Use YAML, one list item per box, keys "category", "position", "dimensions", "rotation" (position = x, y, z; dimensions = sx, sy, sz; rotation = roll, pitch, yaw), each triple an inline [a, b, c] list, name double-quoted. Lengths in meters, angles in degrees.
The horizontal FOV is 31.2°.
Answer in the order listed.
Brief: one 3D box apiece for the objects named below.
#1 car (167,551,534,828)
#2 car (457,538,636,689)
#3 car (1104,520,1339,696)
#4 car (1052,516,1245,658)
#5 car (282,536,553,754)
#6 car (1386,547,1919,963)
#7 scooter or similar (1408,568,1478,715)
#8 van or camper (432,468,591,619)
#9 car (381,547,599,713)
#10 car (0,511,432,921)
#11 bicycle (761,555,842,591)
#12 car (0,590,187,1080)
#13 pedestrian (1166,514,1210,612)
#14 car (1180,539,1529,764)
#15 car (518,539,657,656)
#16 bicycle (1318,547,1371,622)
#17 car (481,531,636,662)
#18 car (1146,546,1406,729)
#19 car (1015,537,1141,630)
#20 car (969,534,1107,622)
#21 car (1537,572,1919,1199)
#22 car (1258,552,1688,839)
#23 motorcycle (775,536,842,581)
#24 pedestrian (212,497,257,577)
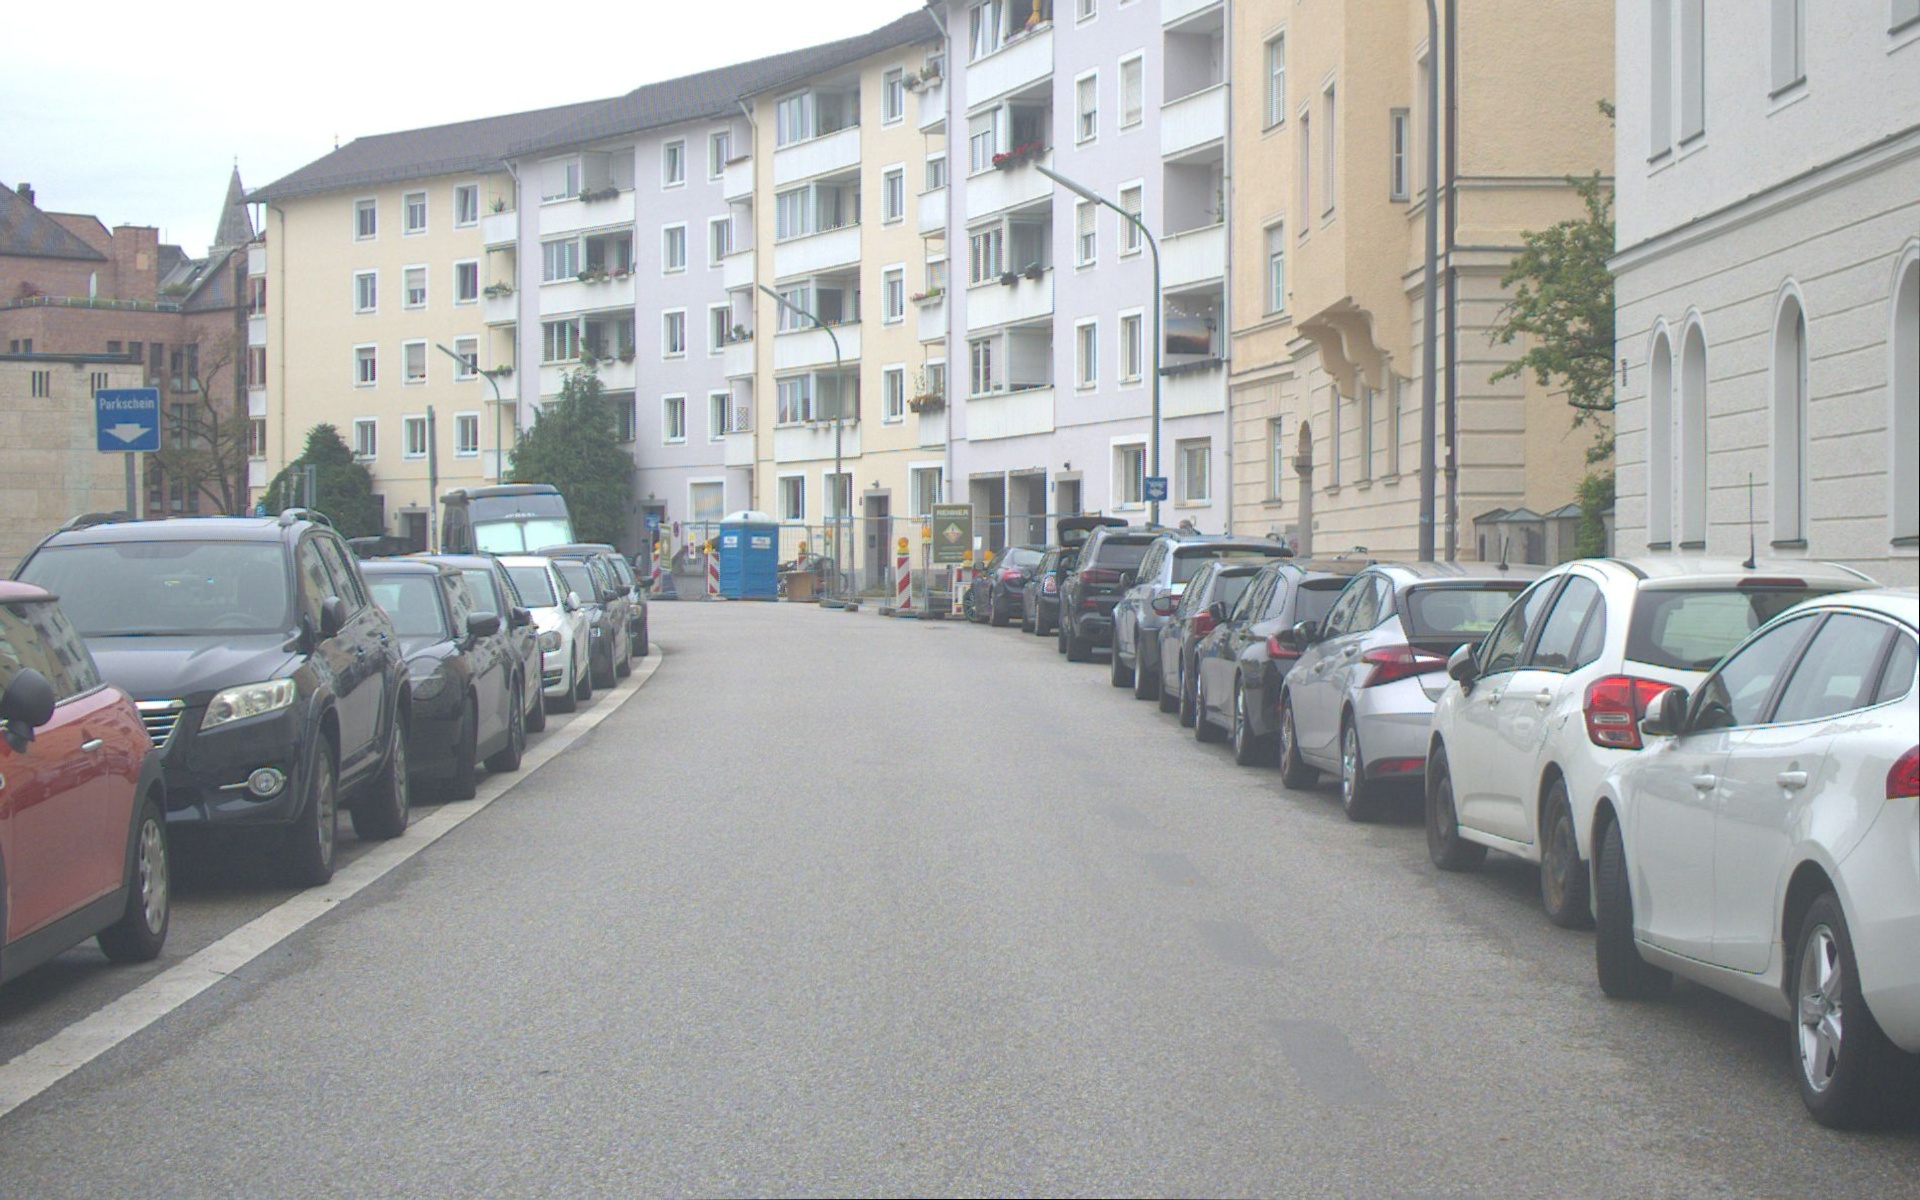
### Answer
- category: "car"
  position: [-3.717, 0.485, 21.559]
  dimensions: [1.631, 1.489, 3.820]
  rotation: [-2, 1, -1]
- category: "car"
  position: [-4.502, 0.104, 37.877]
  dimensions: [1.630, 1.489, 4.276]
  rotation: [-2, 1, -3]
- category: "car"
  position: [2.607, 0.030, 35.290]
  dimensions: [1.846, 1.658, 4.499]
  rotation: [1, 1, -2]
- category: "car"
  position: [2.423, -0.216, 45.551]
  dimensions: [2.170, 1.733, 5.024]
  rotation: [1, 1, -1]
- category: "car"
  position: [-4.120, 0.282, 26.618]
  dimensions: [1.630, 1.489, 4.101]
  rotation: [1, 1, -3]
- category: "car"
  position: [3.070, 0.568, 15.166]
  dimensions: [1.650, 1.538, 3.994]
  rotation: [1, 1, -3]
- category: "scooter or similar"
  position: [4.158, 0.345, 29.635]
  dimensions: [0.427, 1.226, 1.047]
  rotation: [1, 1, -1]
- category: "van or camper"
  position: [-8.272, -1.068, 62.878]
  dimensions: [2.296, 2.572, 6.088]
  rotation: [1, 1, -13]
- category: "car"
  position: [-4.411, 0.235, 32.786]
  dimensions: [1.740, 1.417, 4.295]
  rotation: [1, 1, -4]
- category: "car"
  position: [-3.677, 0.442, 16.398]
  dimensions: [1.714, 1.684, 4.141]
  rotation: [-1, 1, -1]
- category: "bicycle"
  position: [-4.715, -0.807, 102.342]
  dimensions: [2.232, 1.066, 0.920]
  rotation: [0, 1, -25]
- category: "car"
  position: [-3.786, 0.737, 10.974]
  dimensions: [1.804, 1.402, 3.709]
  rotation: [-2, 1, -1]
- category: "pedestrian"
  position: [4.004, -0.648, 60.469]
  dimensions: [0.617, 1.684, 0.919]
  rotation: [-3, 1, -1]
- category: "car"
  position: [2.782, 0.305, 25.274]
  dimensions: [1.875, 1.445, 4.678]
  rotation: [1, 1, -2]
- category: "car"
  position: [-5.160, -0.075, 47.703]
  dimensions: [1.773, 1.460, 4.467]
  rotation: [-2, 1, -6]
- category: "bicycle"
  position: [5.587, -0.238, 50.075]
  dimensions: [0.502, 1.045, 2.138]
  rotation: [-3, 1, 0]
- category: "car"
  position: [-4.919, -0.076, 42.460]
  dimensions: [1.630, 1.489, 3.604]
  rotation: [-2, 1, -3]
- category: "car"
  position: [2.719, 0.281, 30.431]
  dimensions: [1.827, 1.445, 4.084]
  rotation: [1, 1, -1]
- category: "car"
  position: [1.886, -0.293, 55.757]
  dimensions: [1.630, 1.412, 3.680]
  rotation: [1, 1, -4]
- category: "car"
  position: [1.361, -0.432, 62.018]
  dimensions: [1.908, 1.472, 4.947]
  rotation: [1, 1, -5]
- category: "car"
  position: [3.021, 0.677, 10.256]
  dimensions: [1.725, 1.425, 4.294]
  rotation: [1, 1, -2]
- category: "car"
  position: [2.926, 0.486, 20.491]
  dimensions: [1.724, 1.445, 4.188]
  rotation: [1, 1, -3]
- category: "motorcycle"
  position: [-4.157, -1.134, 94.323]
  dimensions: [0.931, 1.217, 2.508]
  rotation: [0, 1, -25]
- category: "pedestrian"
  position: [-17.170, -1.488, 81.385]
  dimensions: [0.842, 1.860, 0.714]
  rotation: [0, 1, -29]
